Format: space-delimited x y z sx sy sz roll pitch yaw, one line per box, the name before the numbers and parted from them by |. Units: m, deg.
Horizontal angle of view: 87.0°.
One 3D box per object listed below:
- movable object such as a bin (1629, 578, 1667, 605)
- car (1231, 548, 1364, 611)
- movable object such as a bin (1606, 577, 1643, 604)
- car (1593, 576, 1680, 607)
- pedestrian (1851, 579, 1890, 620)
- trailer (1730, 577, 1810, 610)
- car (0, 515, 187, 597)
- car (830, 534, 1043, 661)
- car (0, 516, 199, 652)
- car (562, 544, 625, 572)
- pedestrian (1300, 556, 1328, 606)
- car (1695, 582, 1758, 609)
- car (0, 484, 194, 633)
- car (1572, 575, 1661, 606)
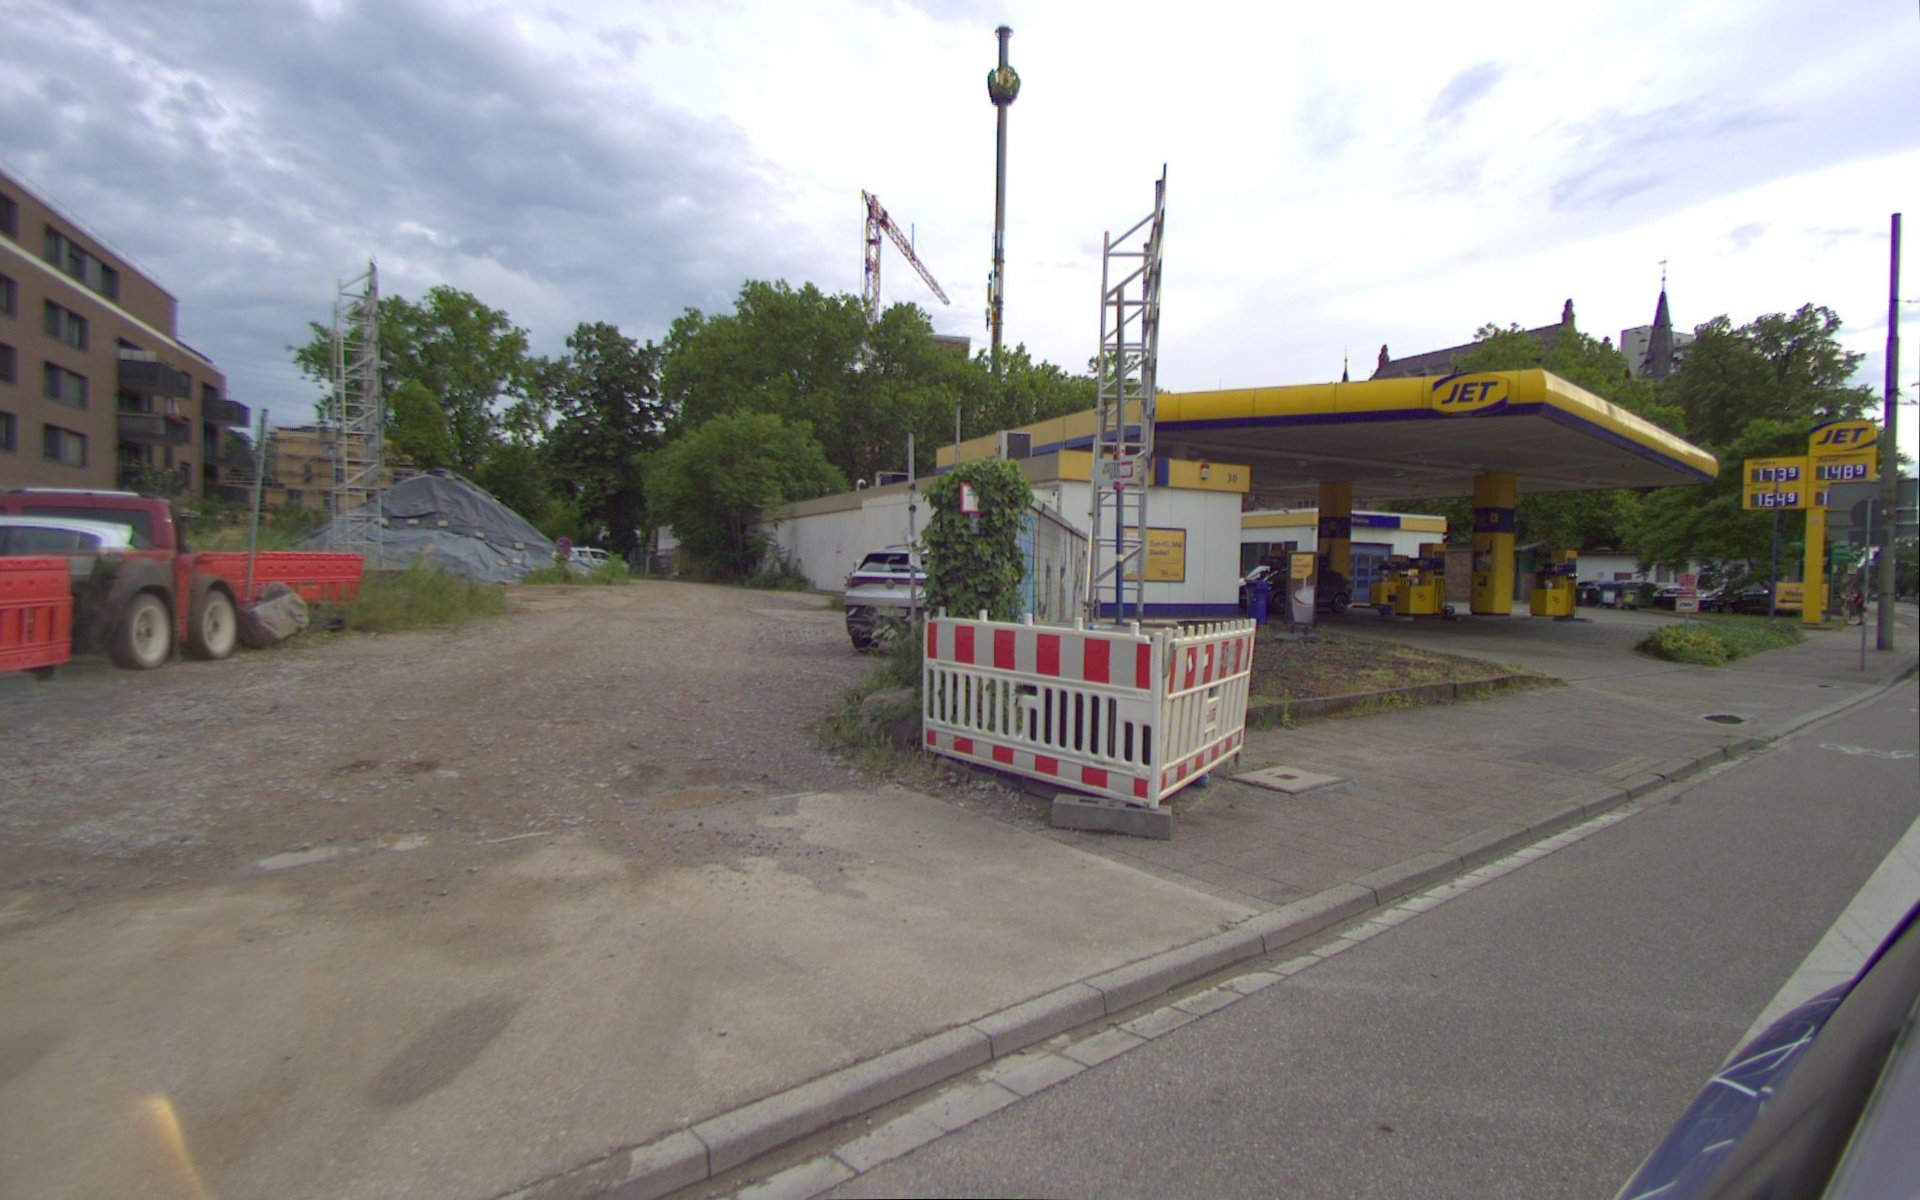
movable object such as a bin | 34.979 -0.420 51.452 1.136 1.336 1.123 0 1 -14
car | 11.523 -0.718 34.559 4.167 2.012 1.828 0 3 -27
movable object such as a bin | 34.536 -0.479 52.618 1.136 1.375 1.123 0 1 -14
car | 39.229 -0.523 58.731 3.986 1.687 1.969 1 2 43
pedestrian | 40.805 -0.033 45.355 0.858 1.768 0.847 4 4 17
trailer | 44.958 -0.378 56.205 3.282 1.549 1.747 5 6 43
car | -17.110 -0.835 18.848 4.266 1.435 1.769 0 4 -37
car | -0.210 -0.132 15.674 1.976 1.657 3.924 2 3 20
car | -11.024 -0.210 10.979 4.275 1.435 1.765 -1 4 -44
car | -25.846 -2.939 71.301 3.920 1.841 1.893 0 1 -29
pedestrian | 12.733 -0.684 36.442 0.614 1.809 0.709 0 1 -20
car | 38.652 -0.259 50.986 3.935 1.304 1.995 -1 2 -45
car | -12.838 -0.582 13.240 4.345 1.867 1.926 -1 4 -43
car | 36.290 -0.535 55.986 3.942 1.716 1.816 0 1 -12
